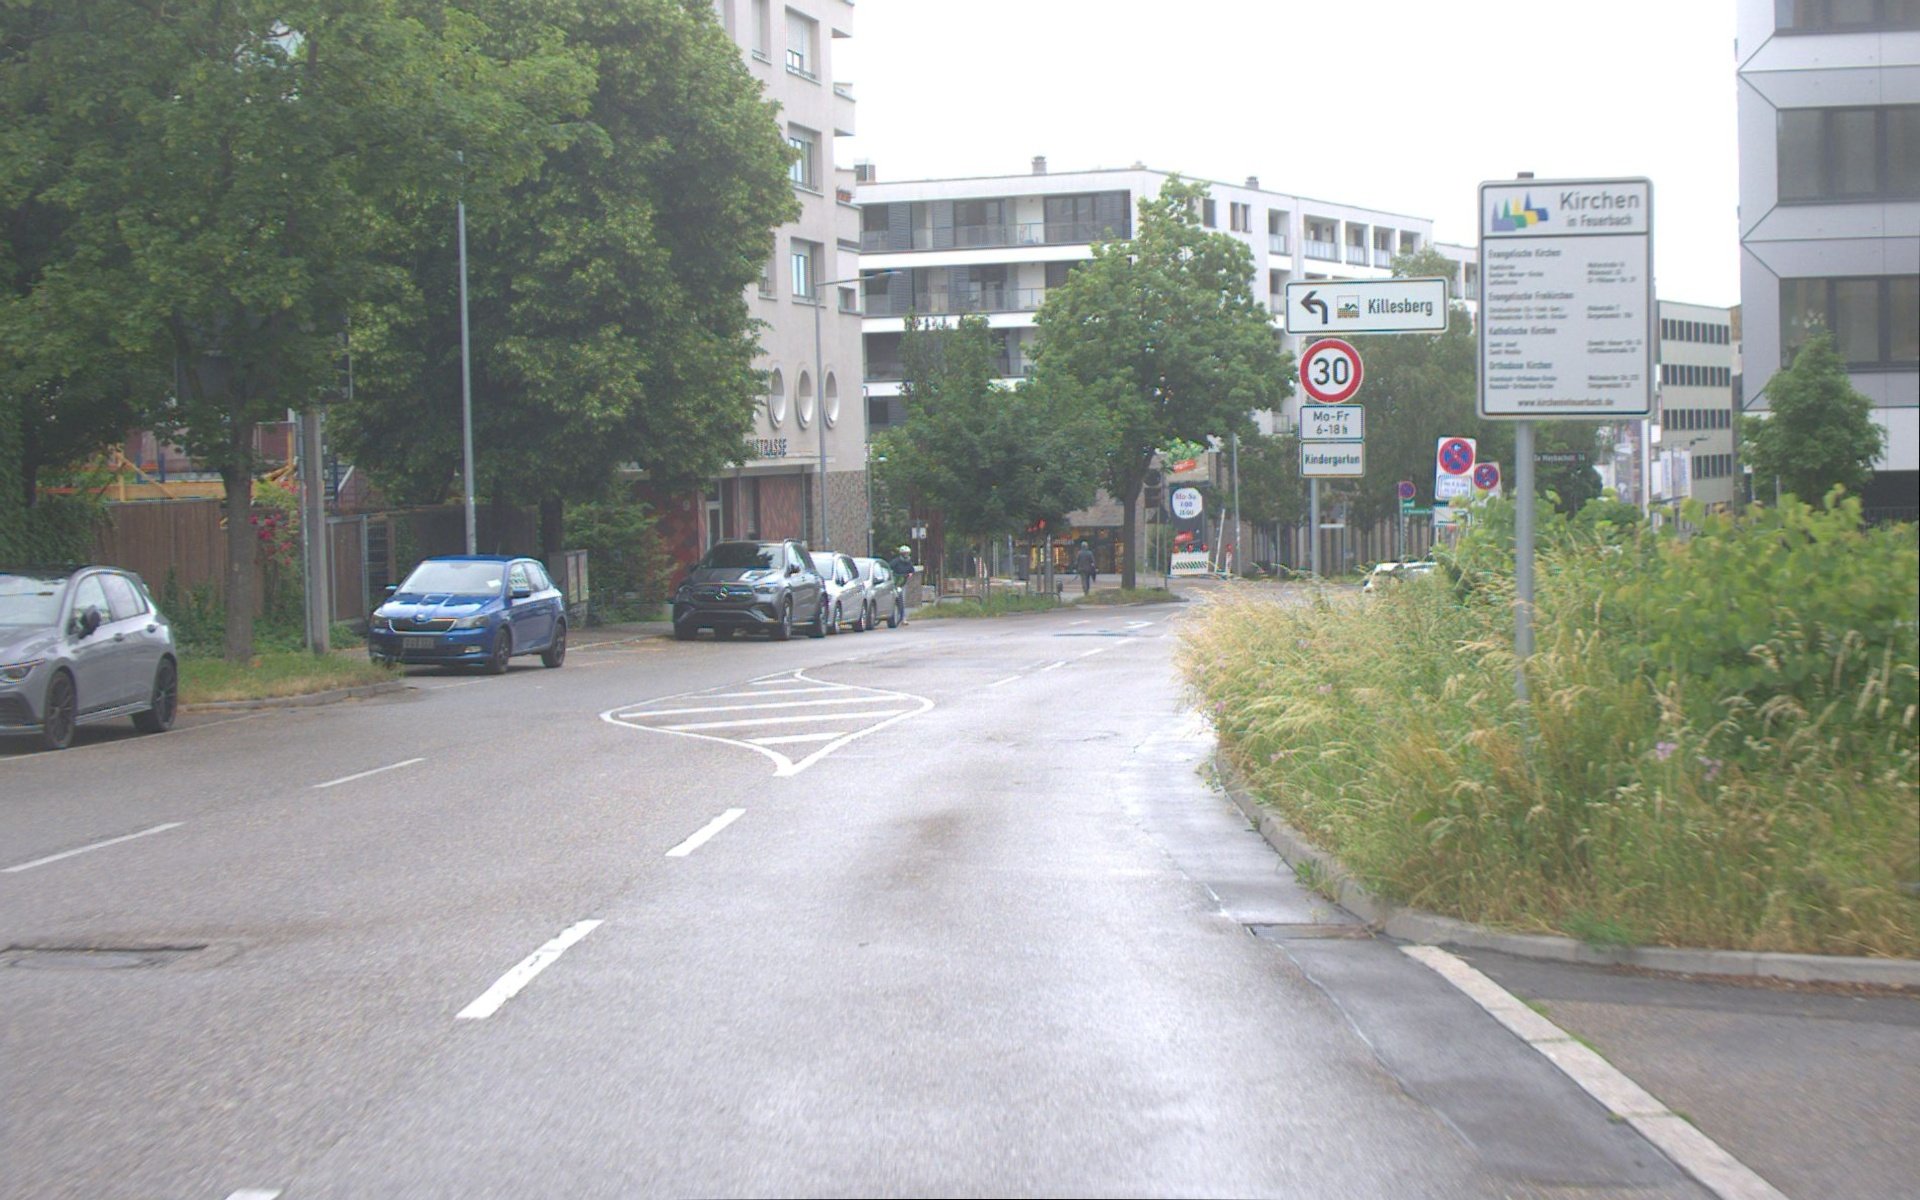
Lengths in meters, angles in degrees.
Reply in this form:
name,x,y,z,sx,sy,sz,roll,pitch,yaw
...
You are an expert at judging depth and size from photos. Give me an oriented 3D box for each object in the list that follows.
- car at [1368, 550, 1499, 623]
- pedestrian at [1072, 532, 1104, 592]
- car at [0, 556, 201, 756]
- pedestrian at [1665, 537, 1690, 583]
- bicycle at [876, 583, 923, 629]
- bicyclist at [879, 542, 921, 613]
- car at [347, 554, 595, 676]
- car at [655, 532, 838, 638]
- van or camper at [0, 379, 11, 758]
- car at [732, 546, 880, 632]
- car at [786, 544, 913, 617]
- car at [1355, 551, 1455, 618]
name,x,y,z,sx,sy,sz,roll,pitch,yaw
car,9.796,-0.300,71.394,2.044,1.453,4.056,0,1,-2
pedestrian,4.286,-1.285,115.399,1.055,2.007,1.099,0,0,2
car,-7.894,0.399,28.267,1.994,1.507,4.422,0,1,5
pedestrian,28.663,-1.600,137.295,0.823,1.790,1.207,-1,0,17
bicycle,-1.302,0.123,74.557,0.802,0.975,2.254,0,0,5
bicyclist,-1.301,-0.485,74.505,0.801,1.517,1.201,0,0,4
car,-6.179,0.161,43.929,1.994,1.465,4.184,0,1,9
car,-3.712,-0.281,60.841,1.994,1.780,5.408,0,1,10
van or camper,-8.292,-0.178,22.167,2.340,2.755,6.142,0,1,3
car,-2.949,-0.224,66.757,1.990,1.588,4.488,0,1,9
car,-2.251,-0.406,71.172,1.880,1.458,3.845,0,1,10
car,10.135,-0.372,78.068,2.040,1.459,4.501,1,1,10
